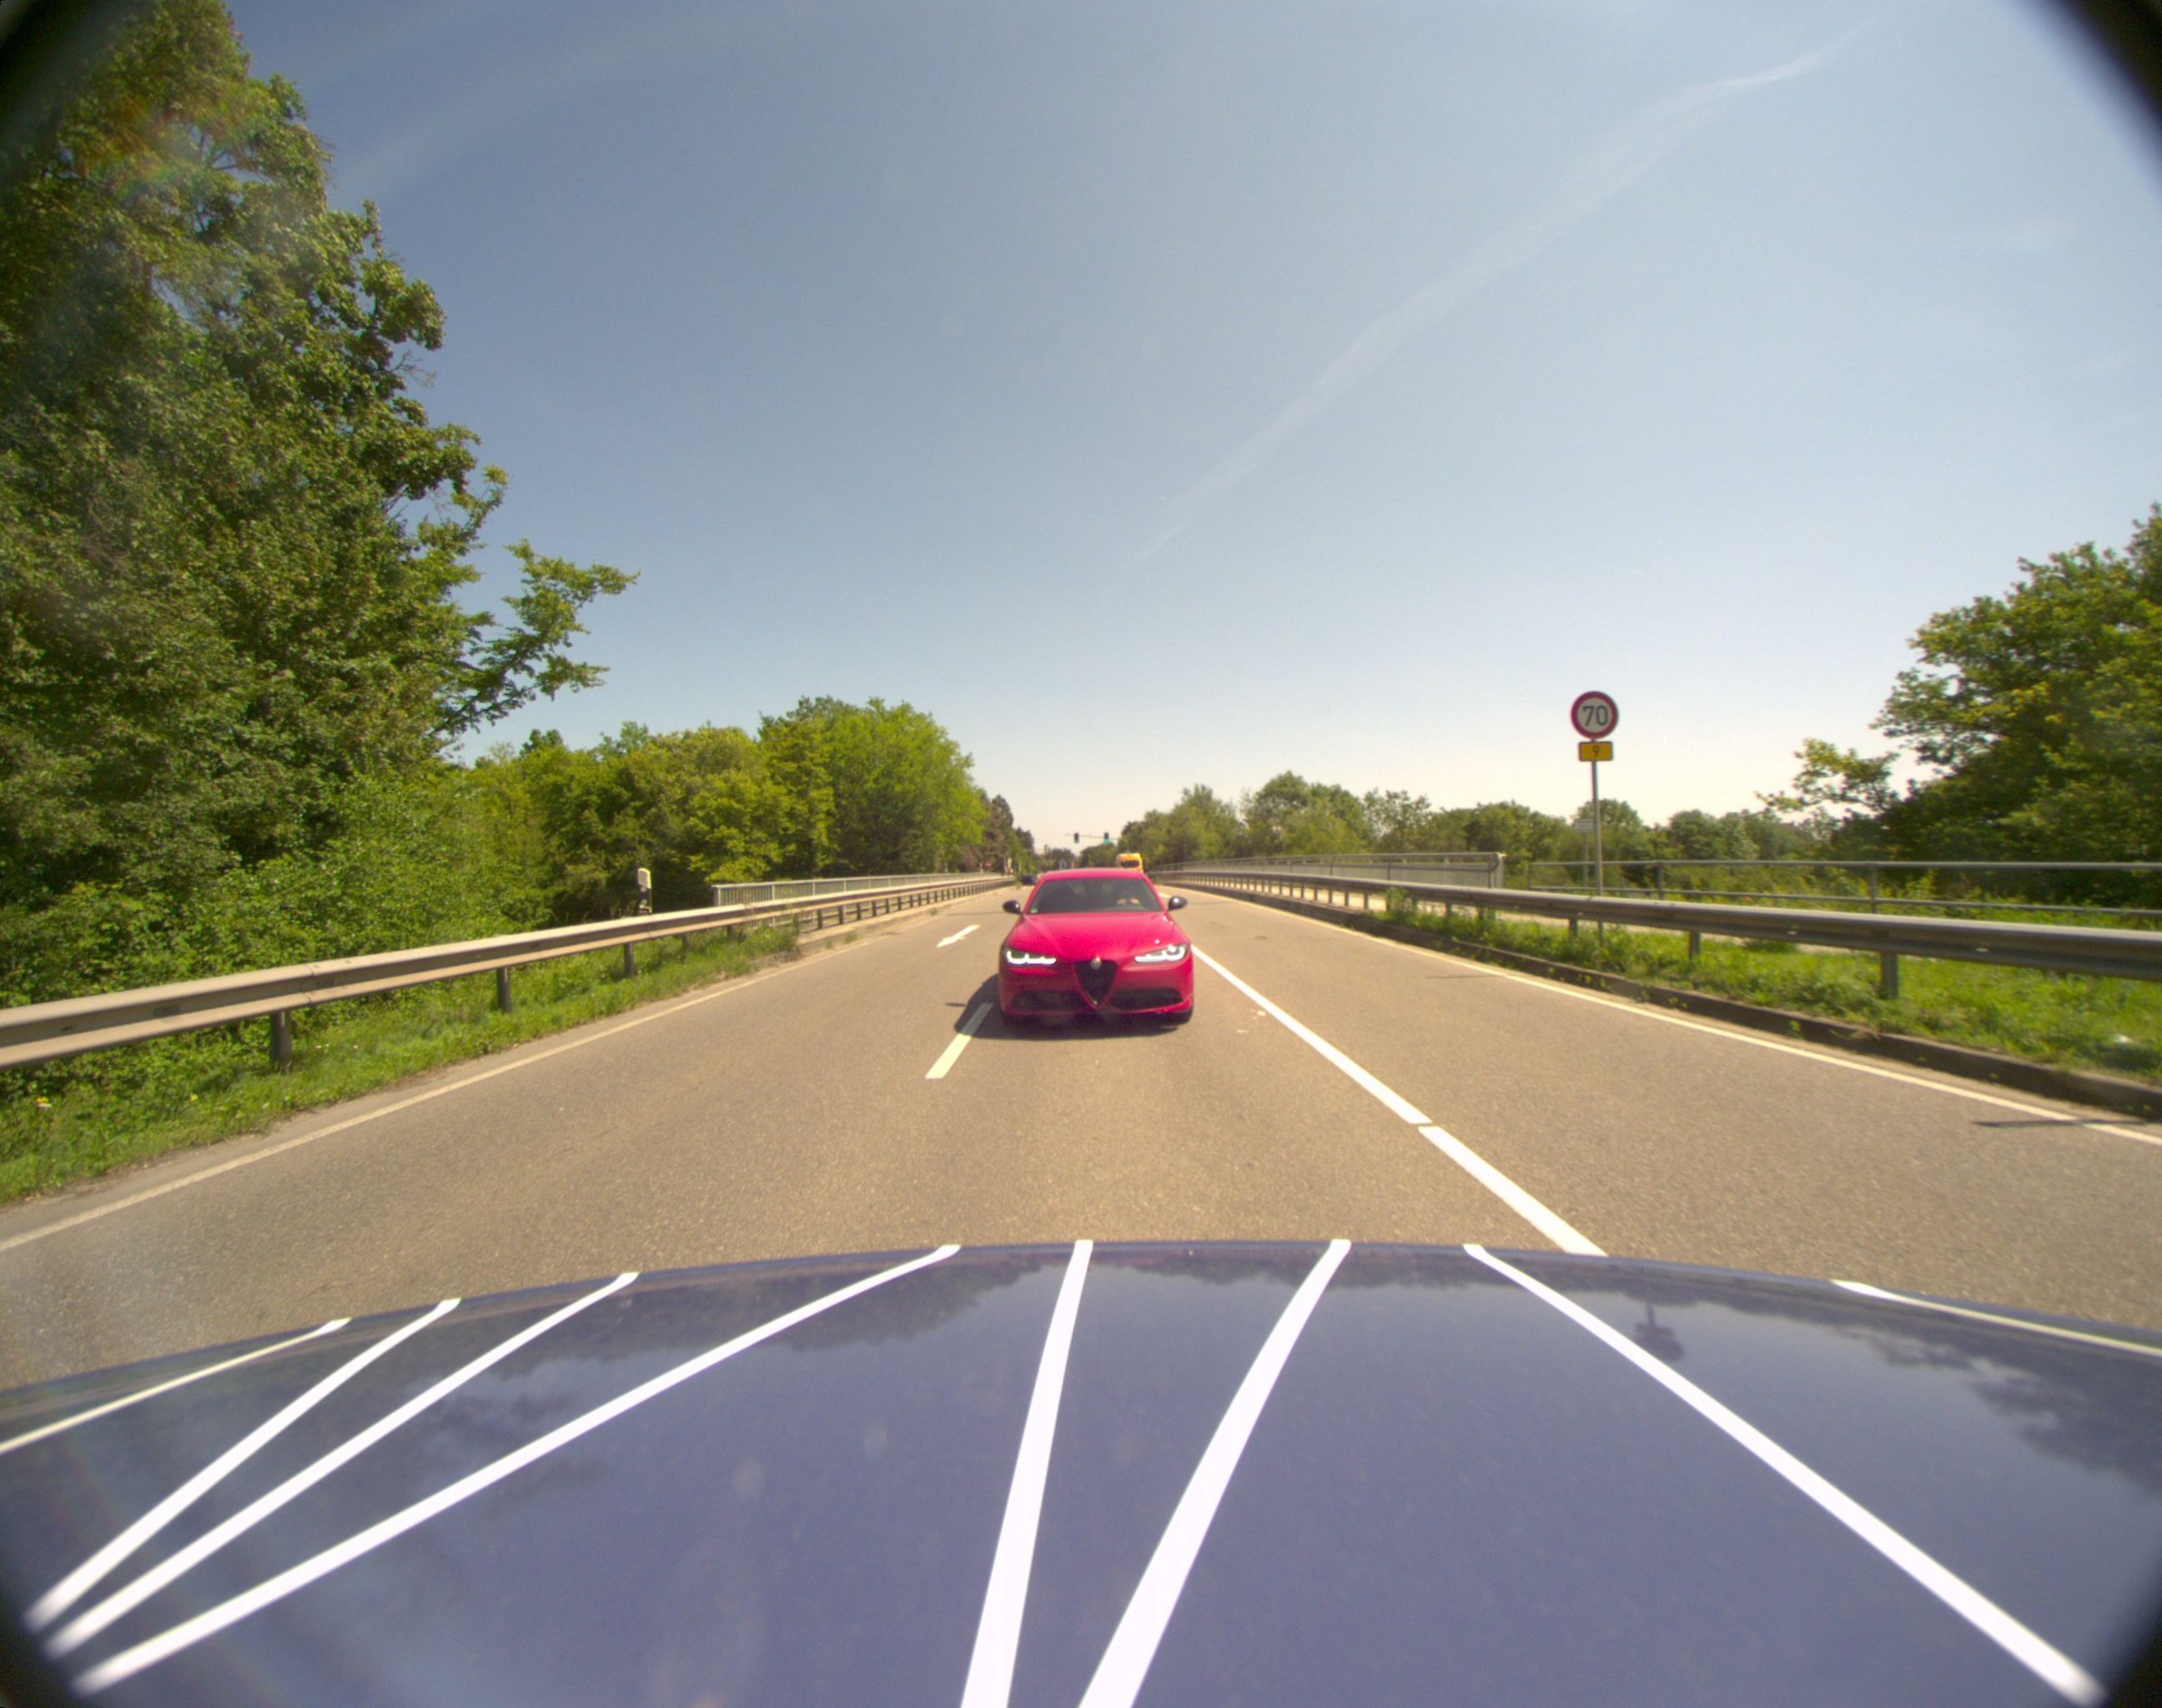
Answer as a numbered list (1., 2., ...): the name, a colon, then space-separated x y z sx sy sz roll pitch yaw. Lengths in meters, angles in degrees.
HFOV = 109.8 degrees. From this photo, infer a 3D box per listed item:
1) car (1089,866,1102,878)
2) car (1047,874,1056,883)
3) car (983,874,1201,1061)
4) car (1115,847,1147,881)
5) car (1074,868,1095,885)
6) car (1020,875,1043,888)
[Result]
1. car: 2.122 2.705 113.368 1.848 1.758 4.000 -1 0 0
2. car: -5.413 4.498 138.708 1.416 1.499 3.316 -1 0 0
3. car: 0.110 1.001 8.491 1.800 1.448 4.285 -1 0 0
4. car: 3.669 0.716 56.616 1.995 2.354 5.182 -2 0 0
5. car: 0.327 2.023 69.538 1.800 1.448 3.707 -1 0 1
6. car: -7.111 3.919 108.682 1.638 1.667 3.481 -2 1 -39
